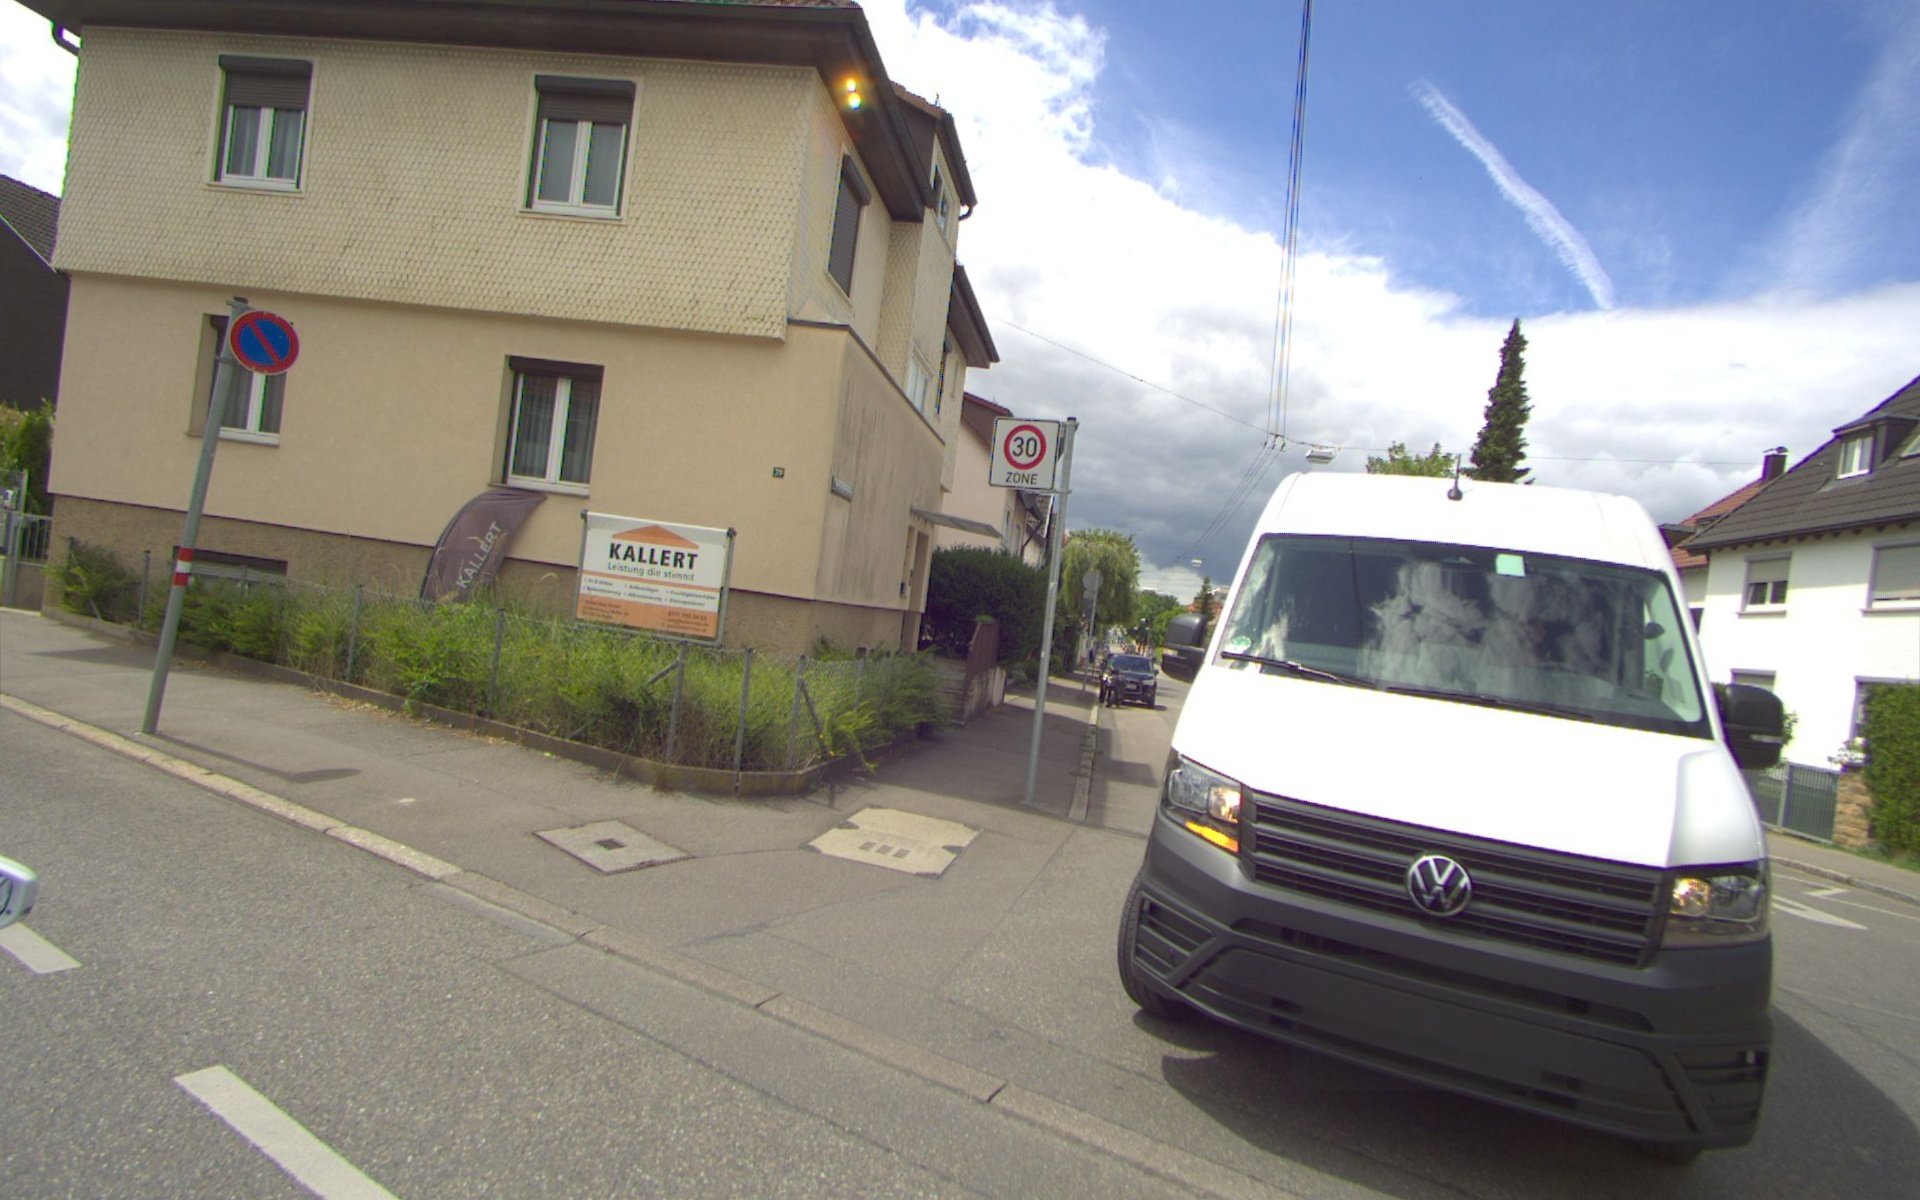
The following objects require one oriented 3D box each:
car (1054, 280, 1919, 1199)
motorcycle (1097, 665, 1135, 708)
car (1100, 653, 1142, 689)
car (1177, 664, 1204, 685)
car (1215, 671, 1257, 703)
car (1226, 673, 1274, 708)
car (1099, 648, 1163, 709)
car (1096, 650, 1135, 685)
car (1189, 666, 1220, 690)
[{"bbox_3d":[2.494,0.609,5.614,1.963,2.612,6.016,8,-1,22],"label":"car"},{"bbox_3d":[4.572,2.523,29.330,0.521,1.172,1.760,6,-1,25],"label":"motorcycle"},{"bbox_3d":[7.616,3.343,47.852,1.672,1.400,4.004,7,-2,7],"label":"car"},{"bbox_3d":[19.649,6.348,86.037,1.672,1.560,4.005,6,-2,7],"label":"car"},{"bbox_3d":[16.114,5.061,58.877,1.672,1.560,4.005,6,-2,7],"label":"car"},{"bbox_3d":[15.530,4.841,54.073,1.672,1.560,4.005,6,-2,7],"label":"car"},{"bbox_3d":[5.485,2.491,32.703,1.672,1.681,4.004,7,-2,7],"label":"car"},{"bbox_3d":[8.084,3.476,52.523,1.672,1.561,4.004,7,-2,7],"label":"car"},{"bbox_3d":[18.731,5.955,77.235,1.672,1.560,4.005,6,-2,7],"label":"car"}]
